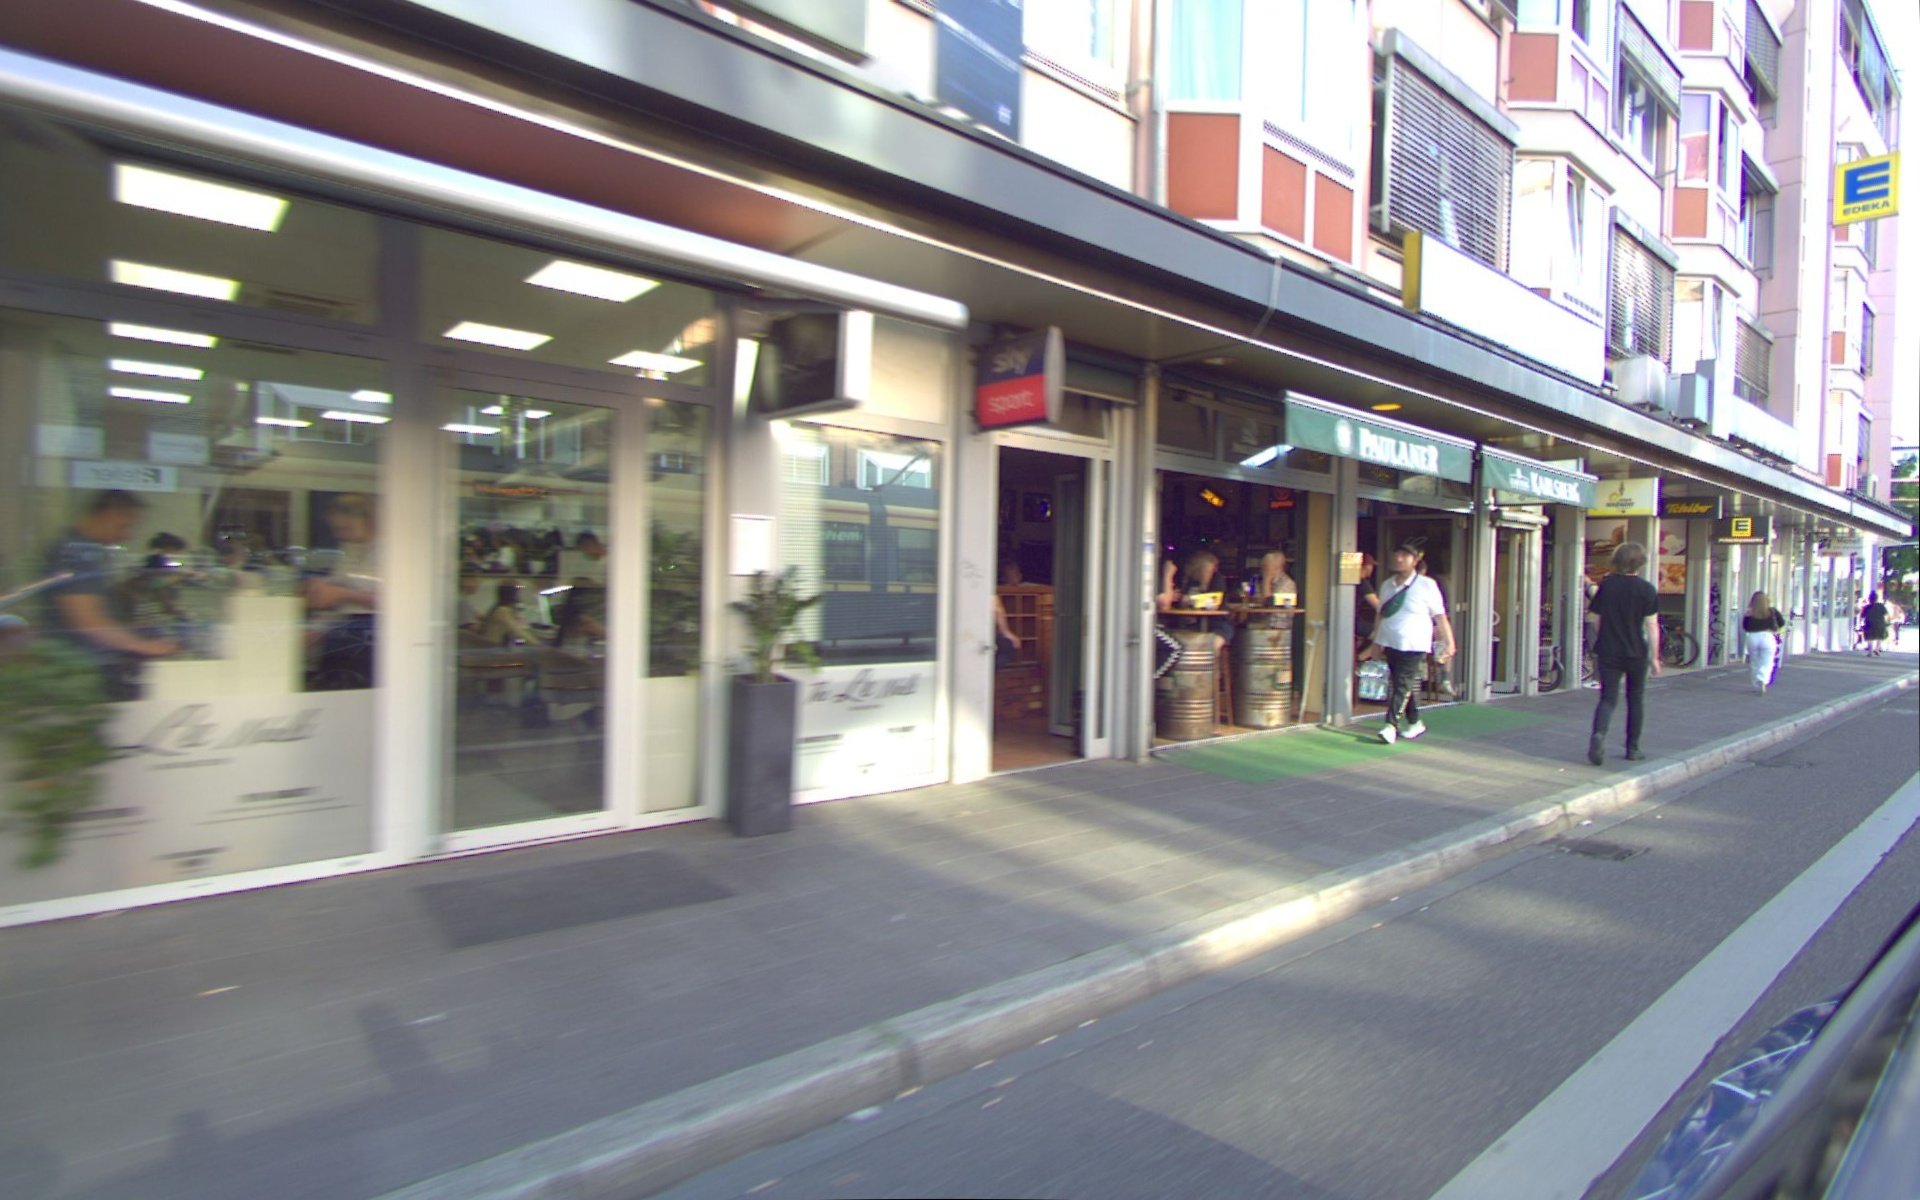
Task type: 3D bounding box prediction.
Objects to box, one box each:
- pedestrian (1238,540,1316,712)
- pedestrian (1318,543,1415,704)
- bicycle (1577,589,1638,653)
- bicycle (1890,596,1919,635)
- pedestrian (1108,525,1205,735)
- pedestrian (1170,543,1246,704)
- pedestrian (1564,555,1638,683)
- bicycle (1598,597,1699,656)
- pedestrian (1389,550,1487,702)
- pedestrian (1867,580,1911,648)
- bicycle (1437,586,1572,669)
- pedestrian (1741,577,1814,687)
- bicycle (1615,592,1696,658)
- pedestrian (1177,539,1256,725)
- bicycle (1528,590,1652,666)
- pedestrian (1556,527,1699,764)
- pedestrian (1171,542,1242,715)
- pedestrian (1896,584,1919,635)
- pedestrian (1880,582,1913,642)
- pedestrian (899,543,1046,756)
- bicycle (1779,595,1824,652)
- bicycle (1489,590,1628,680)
[{"bbox_3d":[3.168,0.243,10.120,0.512,1.653,0.518,0,1,-36],"label":"pedestrian"},{"bbox_3d":[4.487,0.243,11.181,0.684,1.696,0.774,0,0,-40],"label":"pedestrian"},{"bbox_3d":[13.108,0.402,20.522,0.415,1.215,1.479,1,1,7],"label":"bicycle"},{"bbox_3d":[30.692,0.482,32.887,0.427,1.229,1.802,0,0,34],"label":"bicycle"},{"bbox_3d":[1.666,0.234,8.582,0.544,1.704,0.579,0,1,-42],"label":"pedestrian"},{"bbox_3d":[2.580,0.231,10.550,0.531,1.627,0.522,0,1,-35],"label":"pedestrian"},{"bbox_3d":[9.172,0.244,14.514,0.783,1.741,0.585,4,4,32],"label":"pedestrian"},{"bbox_3d":[13.036,0.486,19.179,0.427,1.054,1.511,2,0,-43],"label":"bicycle"},{"bbox_3d":[5.462,0.272,11.577,0.627,1.656,0.728,0,3,-39],"label":"pedestrian"},{"bbox_3d":[22.960,0.341,25.026,0.486,1.633,0.708,-1,2,-41],"label":"pedestrian"},{"bbox_3d":[8.607,0.415,15.991,2.071,1.270,0.578,0,0,-17],"label":"bicycle"},{"bbox_3d":[12.122,0.454,15.001,0.776,1.539,0.666,0,4,-44],"label":"pedestrian"},{"bbox_3d":[13.641,0.466,19.891,0.472,1.215,1.483,1,1,-4],"label":"bicycle"},{"bbox_3d":[2.320,0.270,9.158,0.520,1.623,0.456,0,1,-40],"label":"pedestrian"},{"bbox_3d":[10.710,0.463,17.197,2.040,1.252,0.558,0,1,-17],"label":"bicycle"},{"bbox_3d":[5.692,0.346,8.631,0.974,1.883,0.676,0,3,-39],"label":"pedestrian"},{"bbox_3d":[2.391,0.262,9.830,0.456,1.623,0.457,0,1,-38],"label":"pedestrian"},{"bbox_3d":[31.099,0.309,33.086,0.650,1.627,0.588,0,0,36],"label":"pedestrian"},{"bbox_3d":[28.350,0.344,30.650,0.667,1.784,0.671,0,0,37],"label":"pedestrian"},{"bbox_3d":[0.098,0.348,7.884,0.885,1.538,0.710,0,1,-41],"label":"pedestrian"},{"bbox_3d":[17.598,0.481,21.163,1.382,1.141,0.516,0,1,-42],"label":"bicycle"},{"bbox_3d":[8.826,0.499,14.918,2.040,1.267,0.472,0,1,-17],"label":"bicycle"}]
